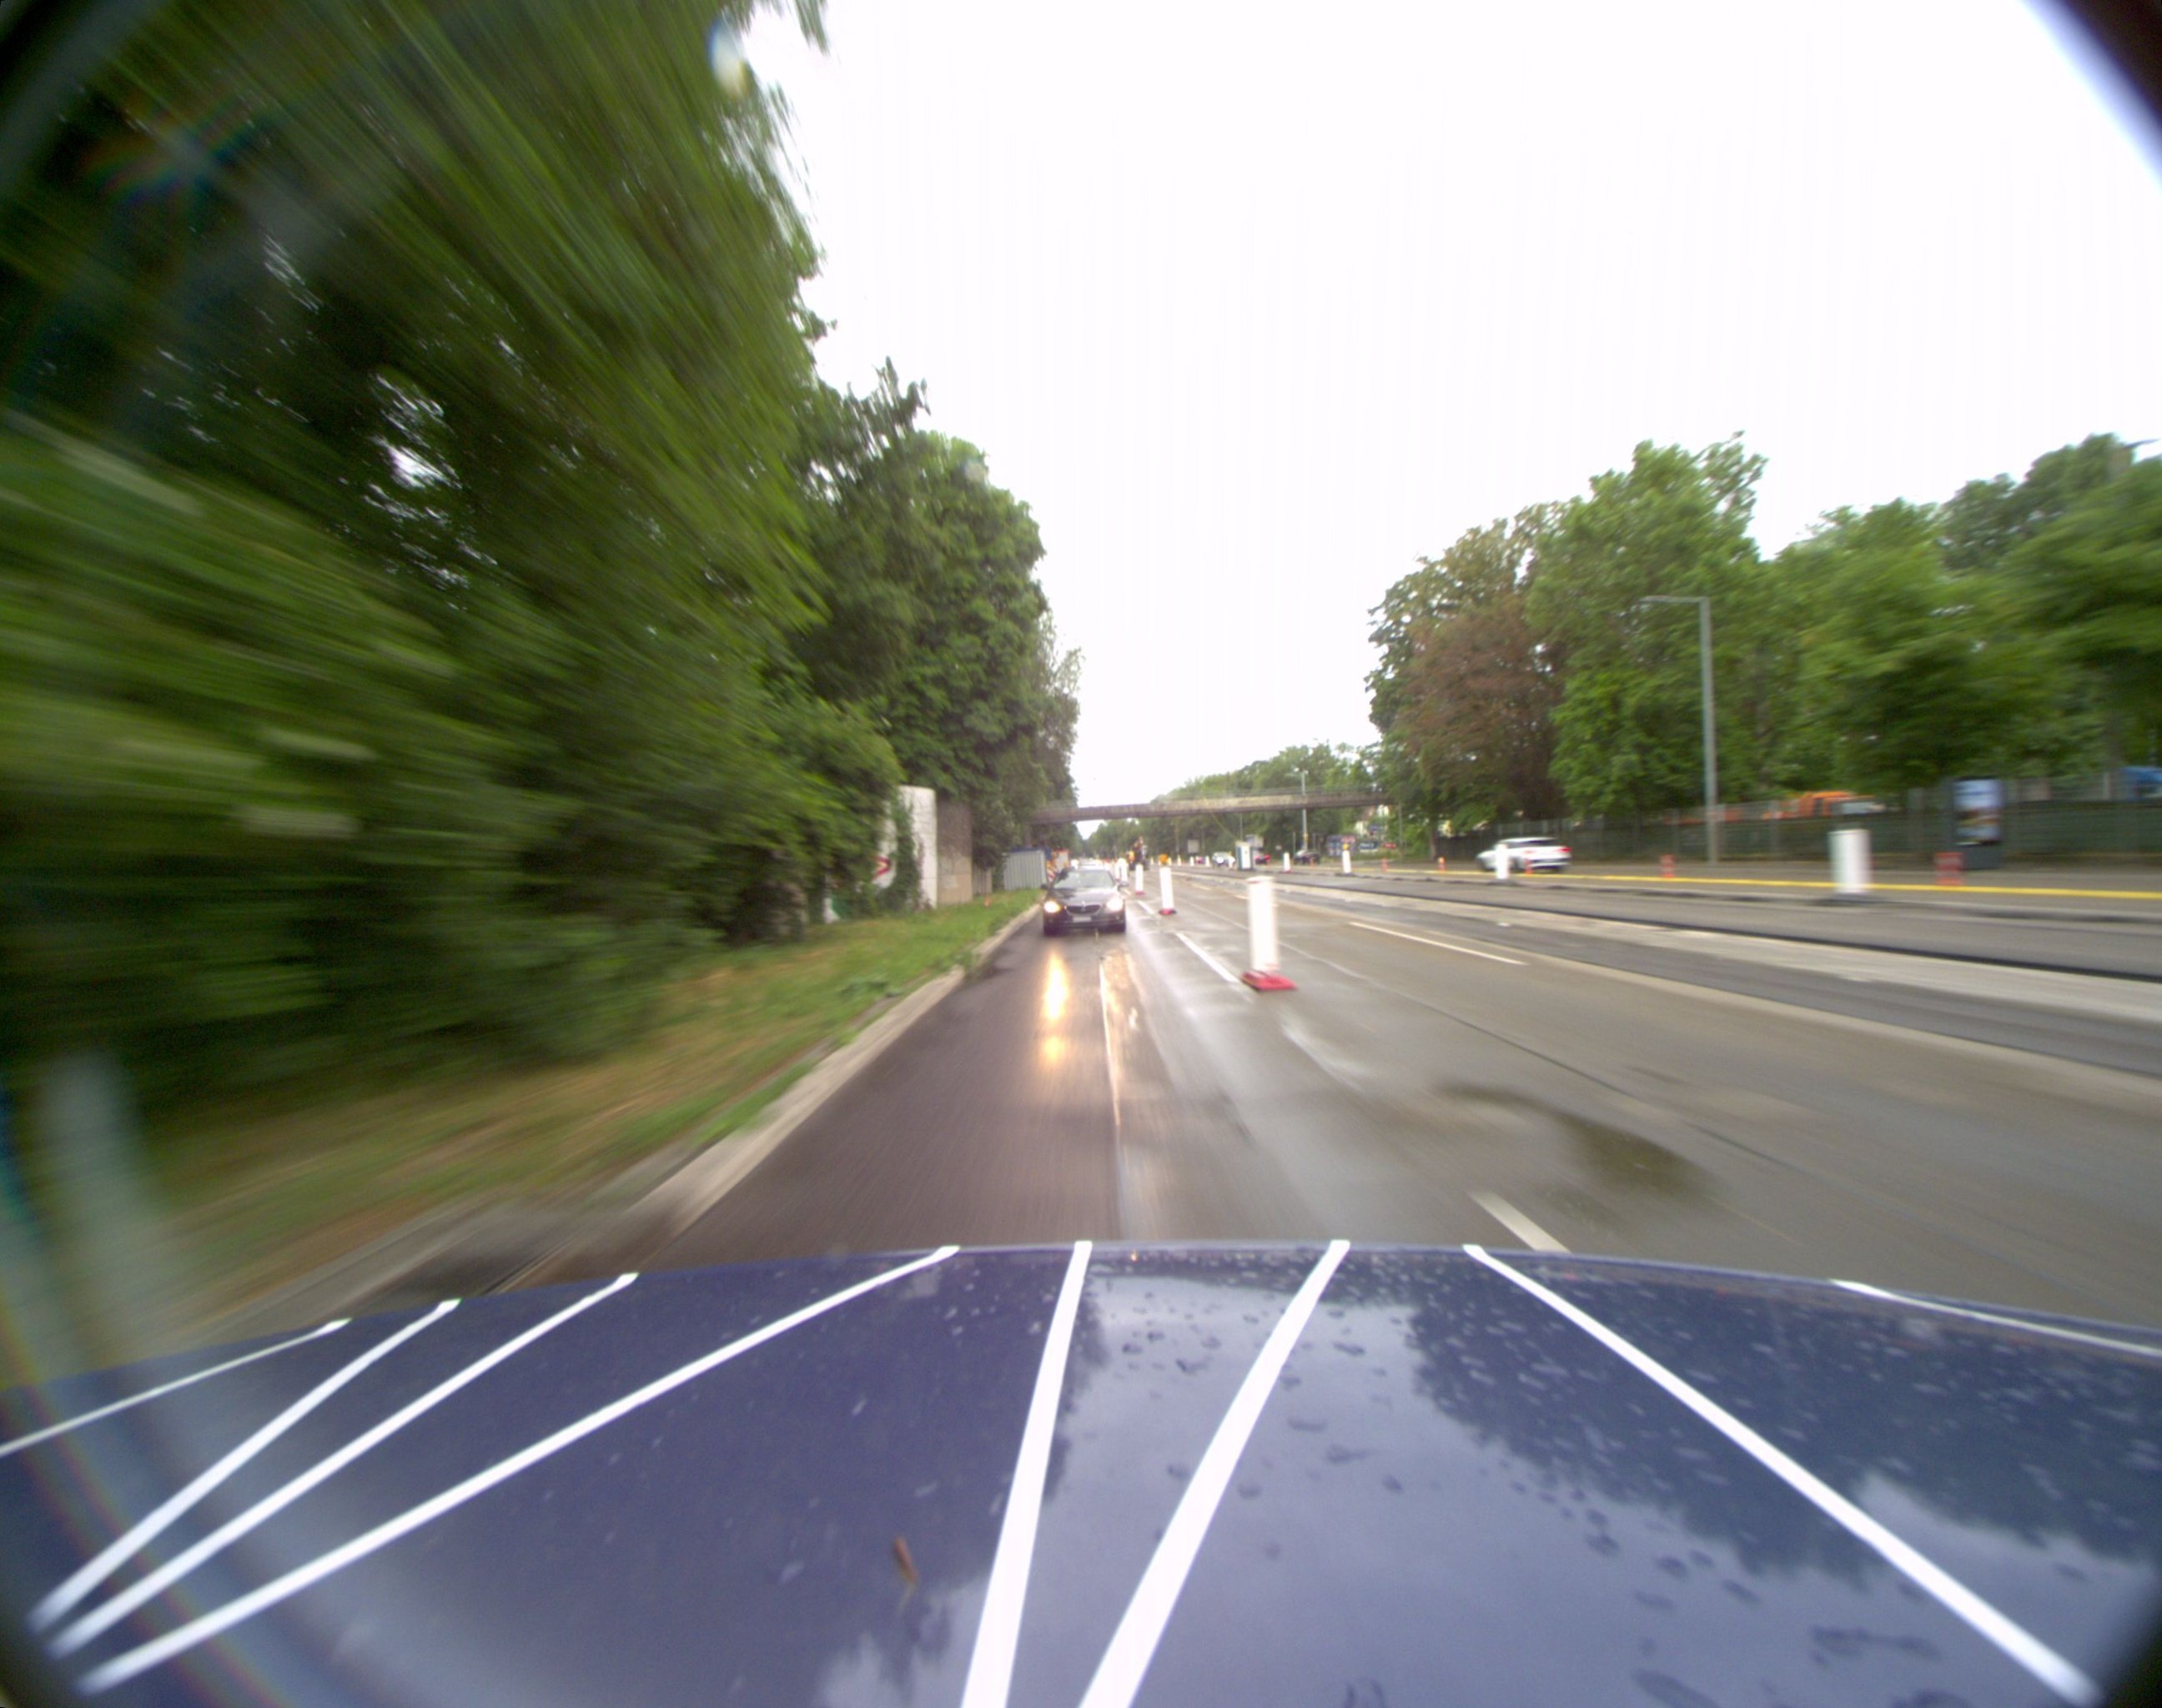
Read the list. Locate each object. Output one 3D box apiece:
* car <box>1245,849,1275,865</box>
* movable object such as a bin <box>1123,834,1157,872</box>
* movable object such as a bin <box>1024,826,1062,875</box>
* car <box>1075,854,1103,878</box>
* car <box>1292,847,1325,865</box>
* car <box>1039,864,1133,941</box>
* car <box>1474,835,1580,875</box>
[{"bbox_3d":[19.513,0.328,82.886,2.083,1.504,5.089,-3,0,1],"label":"car"},{"bbox_3d":[7.560,-0.197,98.763,3.526,4.495,10.069,-3,1,1],"label":"movable object such as a bin"},{"bbox_3d":[-3.299,-0.310,66.877,2.889,3.917,6.104,-3,1,-1],"label":"movable object such as a bin"},{"bbox_3d":[0.657,0.922,58.995,1.998,1.650,4.229,-3,1,1],"label":"car"},{"bbox_3d":[22.208,0.174,74.347,1.998,1.509,4.304,-3,1,1],"label":"car"},{"bbox_3d":[0.080,1.015,17.516,1.838,1.397,3.999,-3,1,-1],"label":"car"},{"bbox_3d":[18.857,0.048,32.351,1.998,1.504,4.266,-3,0,1],"label":"car"}]
